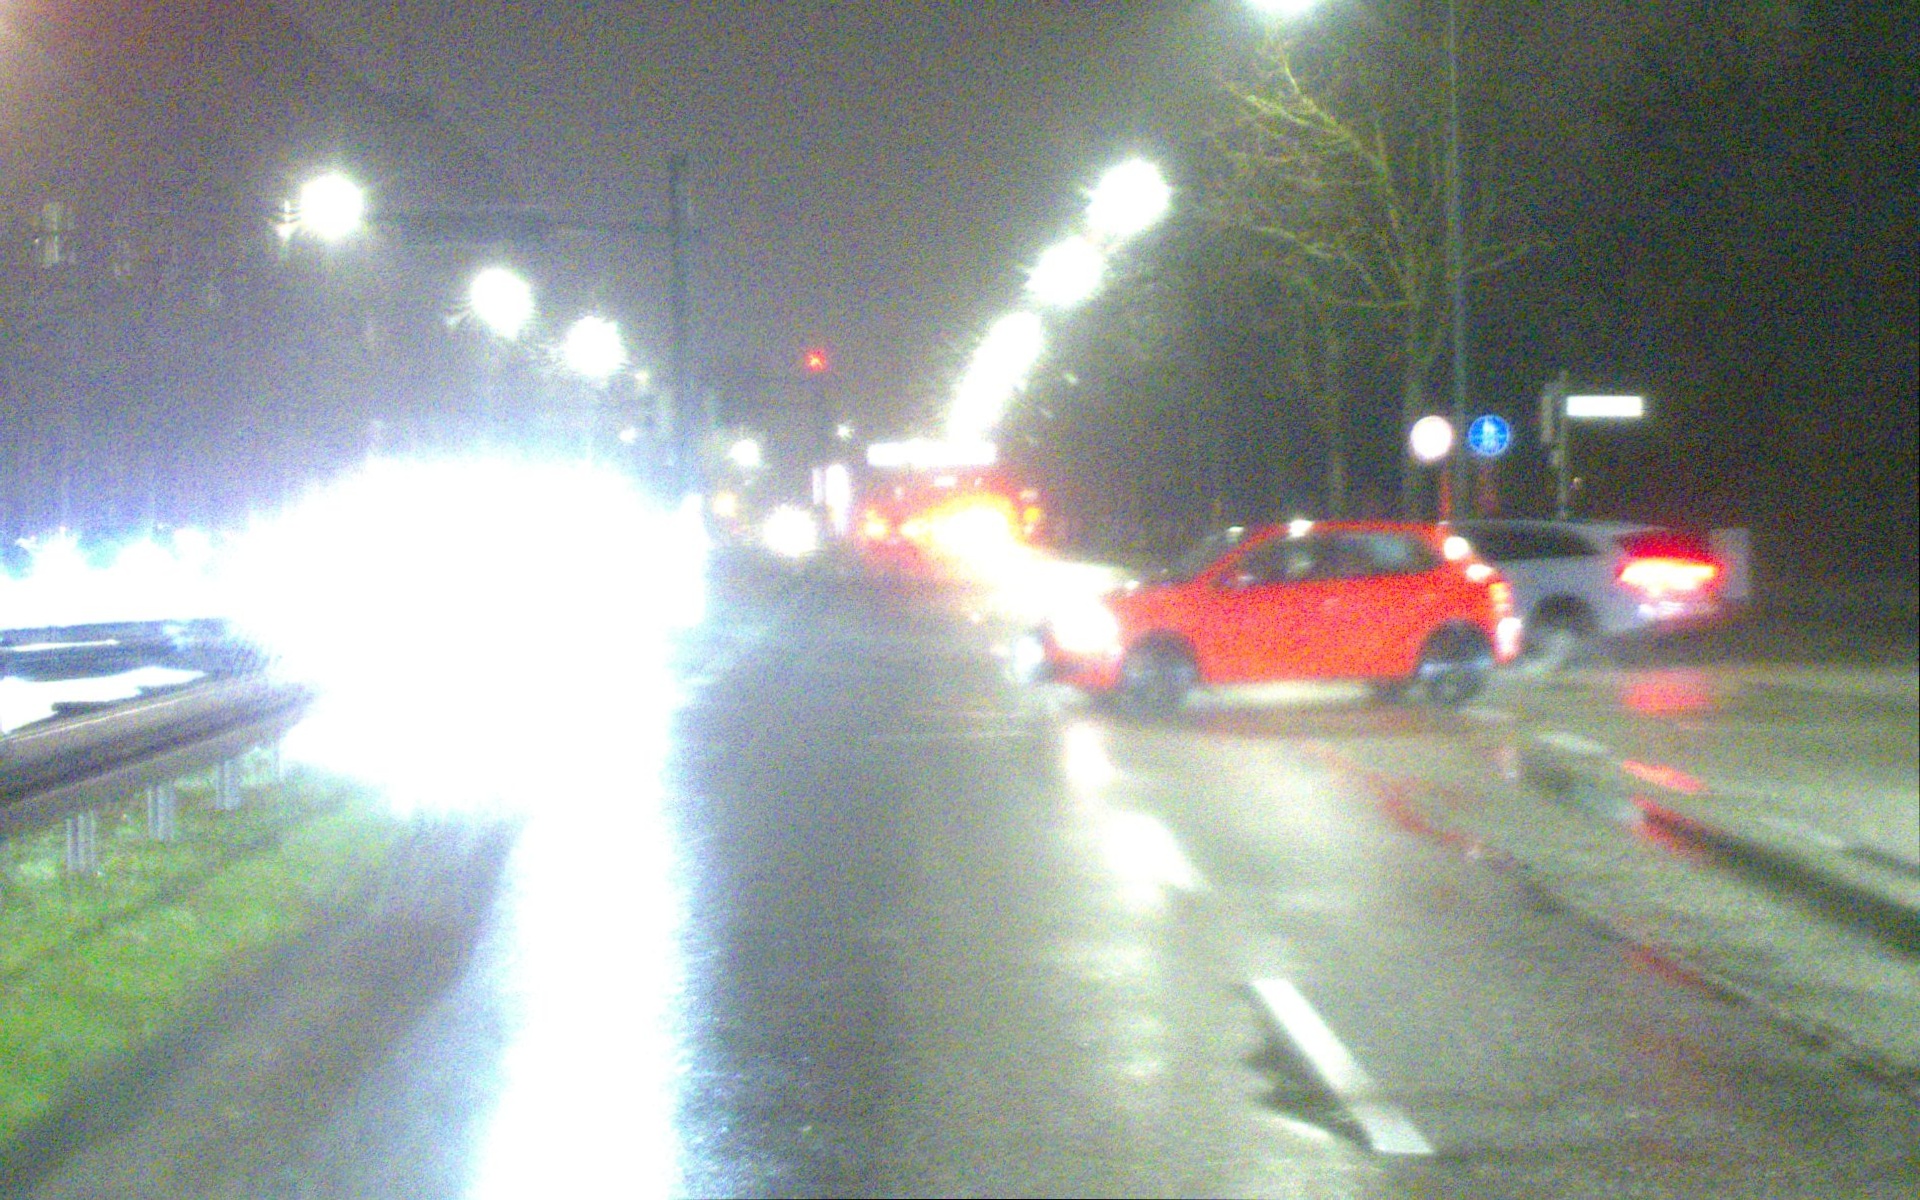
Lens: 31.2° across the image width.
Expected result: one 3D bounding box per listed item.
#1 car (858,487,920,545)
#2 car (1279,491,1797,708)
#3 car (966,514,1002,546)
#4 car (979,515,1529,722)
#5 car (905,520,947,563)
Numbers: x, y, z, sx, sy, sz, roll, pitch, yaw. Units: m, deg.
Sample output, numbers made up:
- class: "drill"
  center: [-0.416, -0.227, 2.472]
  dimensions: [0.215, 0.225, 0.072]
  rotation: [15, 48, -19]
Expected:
- class: "car"
  center: [-2.588, -3.036, 124.472]
  dimensions: [1.993, 2.007, 4.633]
  rotation: [1, 1, -4]
- class: "car"
  center: [6.060, -0.041, 36.133]
  dimensions: [4.919, 2.137, 2.139]
  rotation: [1, 1, 27]
- class: "car"
  center: [1.367, -4.077, 200.460]
  dimensions: [1.993, 1.753, 4.000]
  rotation: [1, 1, -1]
- class: "car"
  center: [2.328, 0.116, 27.755]
  dimensions: [4.067, 1.582, 1.913]
  rotation: [0, 1, -10]
- class: "car"
  center: [-1.524, -2.607, 154.444]
  dimensions: [1.791, 1.868, 4.627]
  rotation: [1, 1, -1]
